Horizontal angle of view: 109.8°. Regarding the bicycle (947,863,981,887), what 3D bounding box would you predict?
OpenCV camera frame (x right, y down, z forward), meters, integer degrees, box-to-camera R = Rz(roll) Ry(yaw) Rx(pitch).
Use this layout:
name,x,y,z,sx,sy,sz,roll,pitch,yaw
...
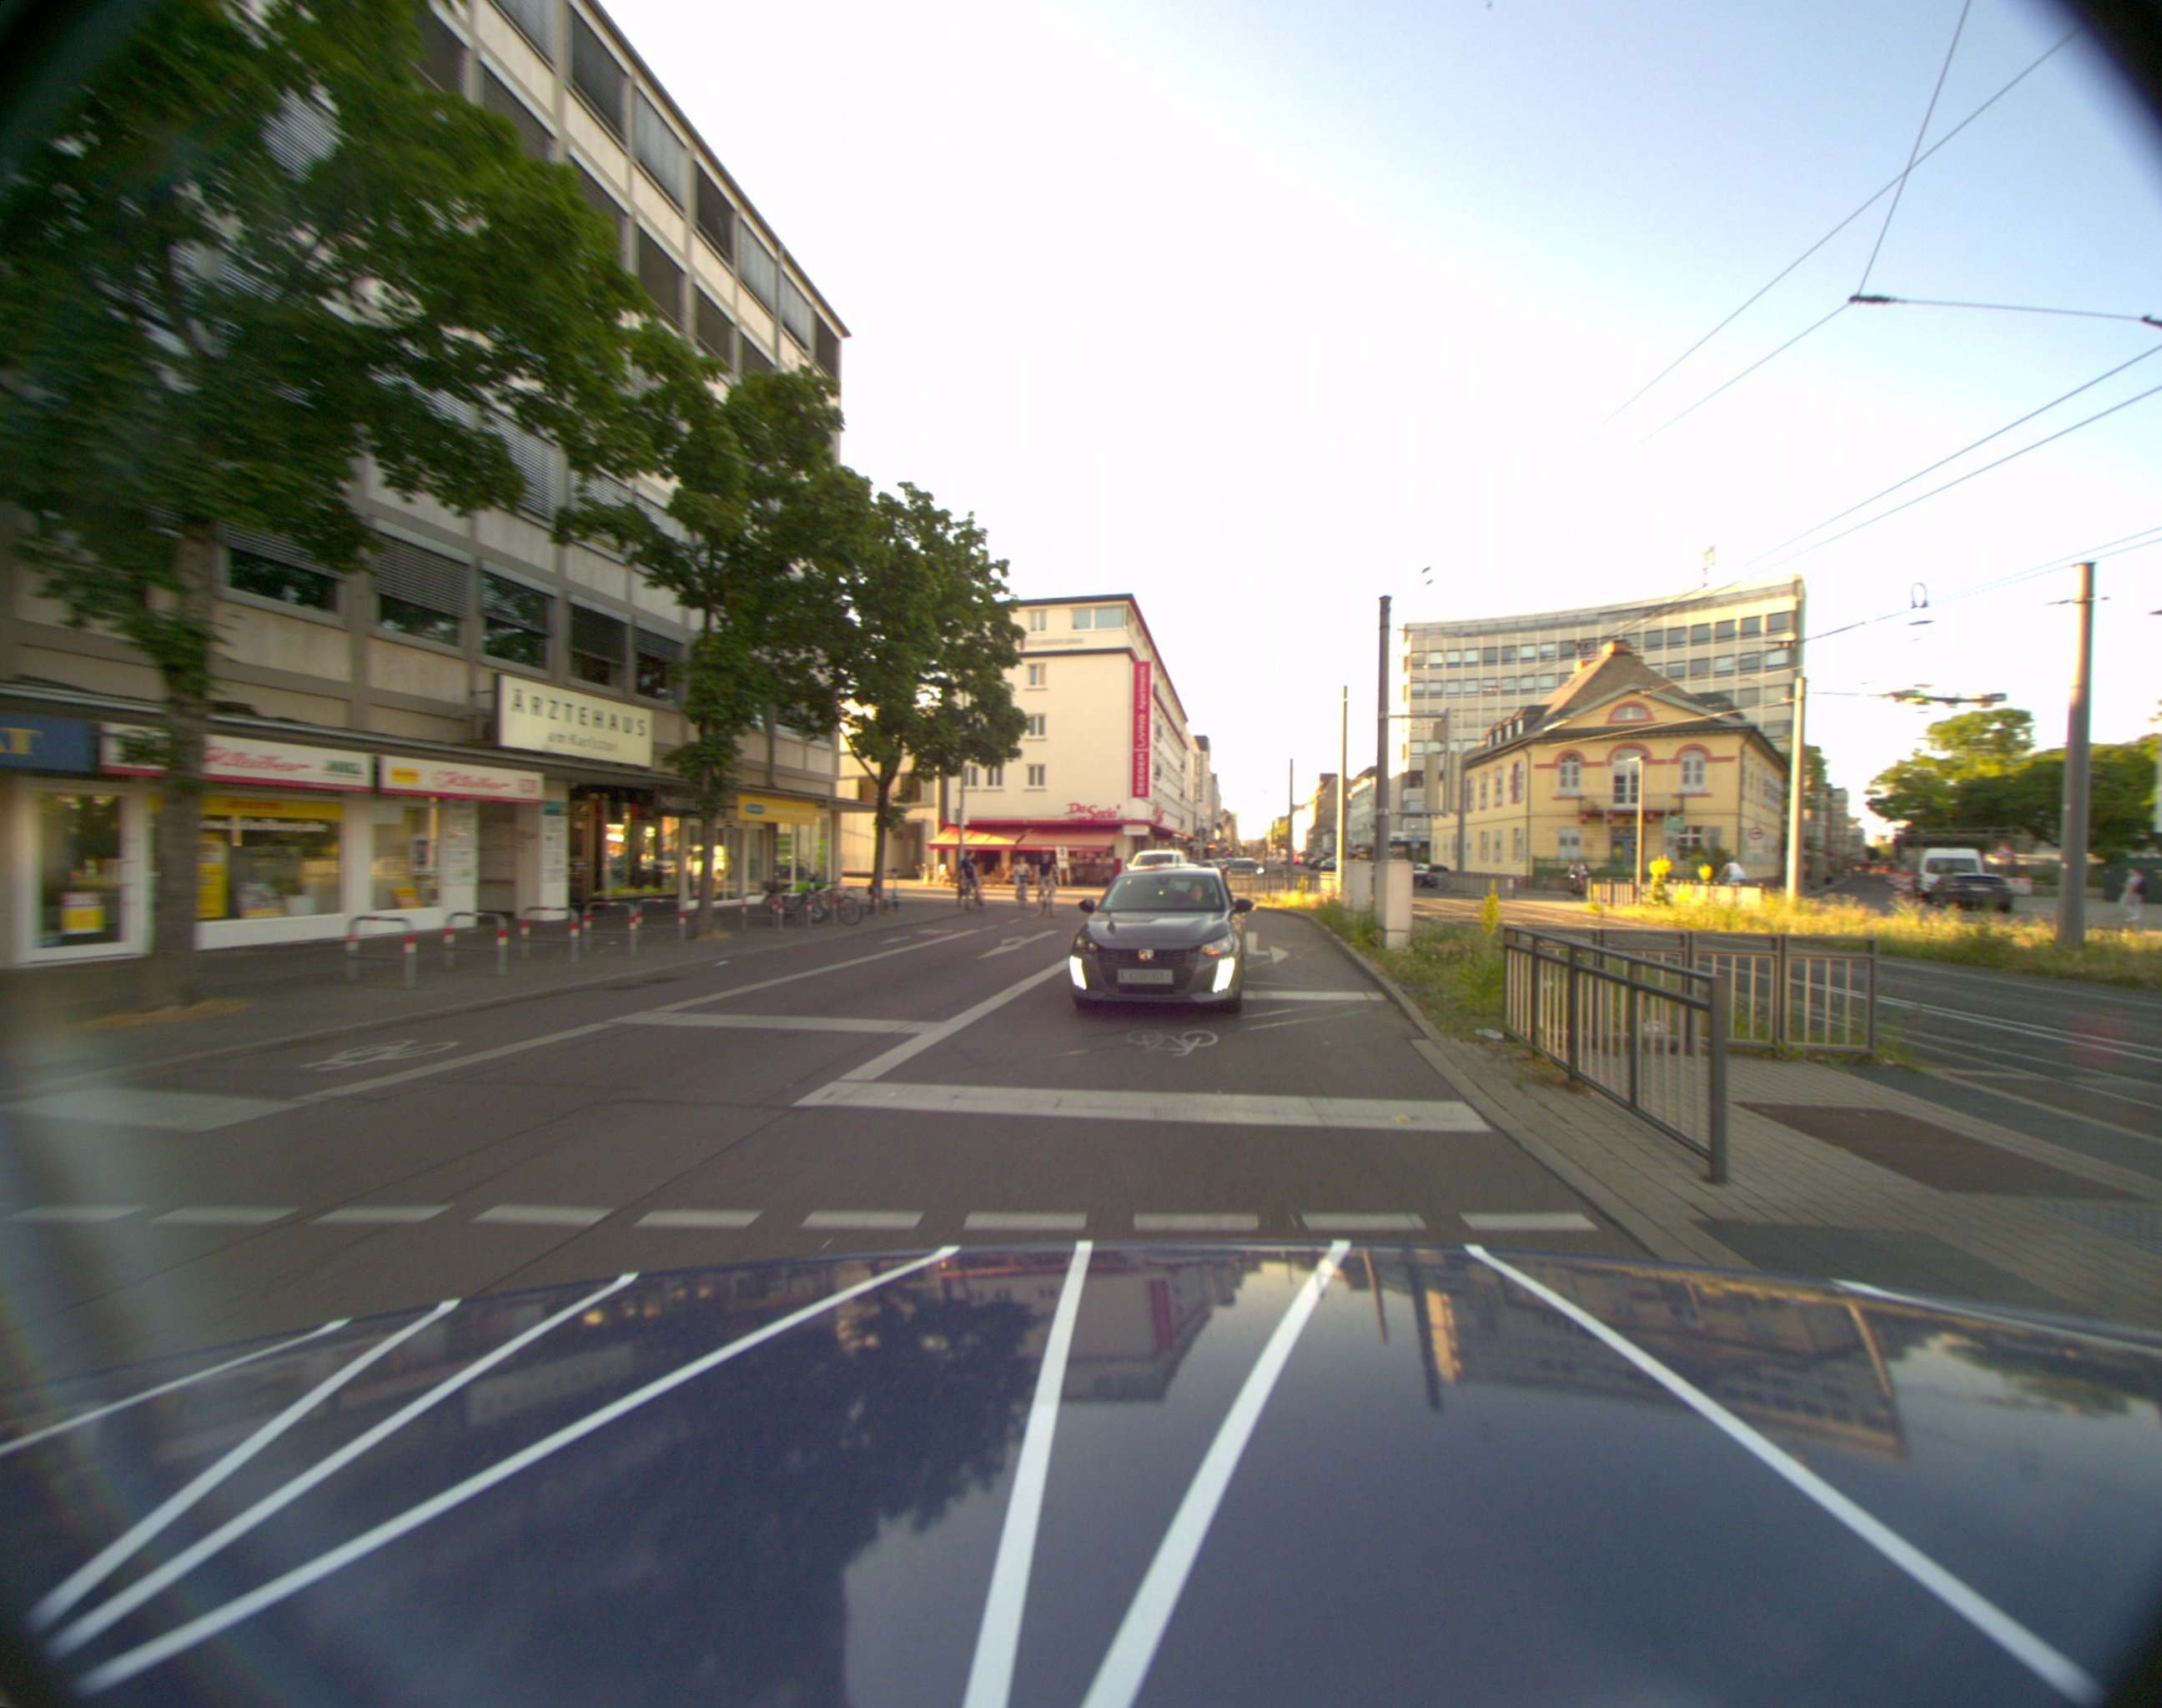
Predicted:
name,x,y,z,sx,sy,sz,roll,pitch,yaw
bicycle,-5.954,1.077,38.742,1.631,1.160,0.601,1,3,17

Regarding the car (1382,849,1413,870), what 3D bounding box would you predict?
name,x,y,z,sx,sy,sz,roll,pitch,yaw
car,28.236,0.483,67.928,1.734,1.698,3.808,2,1,10

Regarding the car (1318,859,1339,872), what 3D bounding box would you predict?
name,x,y,z,sx,sy,sz,roll,pitch,yaw
car,29.503,1.378,90.745,2.015,1.420,4.660,0,0,13

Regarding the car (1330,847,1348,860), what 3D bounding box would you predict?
name,x,y,z,sx,sy,sz,roll,pitch,yaw
car,39.313,-0.034,115.948,1.997,1.936,4.003,1,0,9

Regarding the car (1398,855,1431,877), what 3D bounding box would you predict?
name,x,y,z,sx,sy,sz,roll,pitch,yaw
car,27.577,0.962,62.972,1.735,1.698,3.442,1,1,11

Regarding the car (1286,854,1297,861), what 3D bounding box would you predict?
name,x,y,z,sx,sy,sz,roll,pitch,yaw
car,47.881,0.773,172.988,1.847,1.499,4.002,1,0,8

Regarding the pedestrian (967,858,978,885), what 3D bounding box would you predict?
name,x,y,z,sx,sy,sz,roll,pitch,yaw
pedestrian,-5.716,0.923,40.091,0.509,1.441,0.506,0,1,-14

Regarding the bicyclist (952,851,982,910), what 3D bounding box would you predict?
name,x,y,z,sx,sy,sz,roll,pitch,yaw
bicyclist,-3.446,0.787,22.950,0.665,1.717,0.811,1,1,9

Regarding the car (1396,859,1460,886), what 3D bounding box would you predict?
name,x,y,z,sx,sy,sz,roll,pitch,yaw
car,21.309,1.107,46.868,1.998,1.508,4.414,-2,0,1

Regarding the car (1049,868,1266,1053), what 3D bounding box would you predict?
name,x,y,z,sx,sy,sz,roll,pitch,yaw
car,0.998,0.974,9.108,1.914,1.495,4.705,1,0,8

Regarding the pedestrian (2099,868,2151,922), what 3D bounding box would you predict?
name,x,y,z,sx,sy,sz,roll,pitch,yaw
pedestrian,34.123,1.322,24.849,0.831,1.714,0.876,0,2,-40

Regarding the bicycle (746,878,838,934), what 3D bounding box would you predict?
name,x,y,z,sx,sy,sz,roll,pitch,yaw
bicycle,-6.309,1.127,16.640,1.744,1.133,0.667,2,1,5

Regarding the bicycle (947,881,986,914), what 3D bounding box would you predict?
name,x,y,z,sx,sy,sz,roll,pitch,yaw
bicycle,-3.448,1.294,22.980,0.675,0.896,1.691,1,0,9

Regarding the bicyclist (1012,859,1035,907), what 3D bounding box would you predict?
name,x,y,z,sx,sy,sz,roll,pitch,yaw
bicyclist,-1.820,0.908,24.021,0.589,1.478,0.717,1,1,-15

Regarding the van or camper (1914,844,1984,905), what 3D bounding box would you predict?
name,x,y,z,sx,sy,sz,roll,pitch,yaw
van or camper,42.963,0.974,37.702,6.464,2.758,2.077,1,1,-42

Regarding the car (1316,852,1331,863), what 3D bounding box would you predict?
name,x,y,z,sx,sy,sz,roll,pitch,yaw
car,43.119,0.585,135.172,1.997,1.936,4.003,1,0,9

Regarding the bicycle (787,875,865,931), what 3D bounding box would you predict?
name,x,y,z,sx,sy,sz,roll,pitch,yaw
bicycle,-5.876,1.114,17.544,1.634,1.178,0.539,2,1,12

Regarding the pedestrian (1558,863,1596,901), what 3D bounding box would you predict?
name,x,y,z,sx,sy,sz,roll,pitch,yaw
pedestrian,19.923,1.109,30.528,1.007,1.494,1.041,0,1,-41

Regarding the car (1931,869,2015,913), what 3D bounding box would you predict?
name,x,y,z,sx,sy,sz,roll,pitch,yaw
car,35.354,1.427,30.213,1.778,1.534,4.300,2,1,45

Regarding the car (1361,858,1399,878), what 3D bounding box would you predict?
name,x,y,z,sx,sy,sz,roll,pitch,yaw
car,23.068,1.078,58.780,1.912,1.402,4.341,1,0,11

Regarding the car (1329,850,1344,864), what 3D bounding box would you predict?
name,x,y,z,sx,sy,sz,roll,pitch,yaw
car,37.028,0.437,110.250,1.996,1.936,4.005,1,0,17

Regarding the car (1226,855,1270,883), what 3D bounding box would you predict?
name,x,y,z,sx,sy,sz,roll,pitch,yaw
car,10.379,0.872,46.984,1.995,1.565,4.309,1,1,22

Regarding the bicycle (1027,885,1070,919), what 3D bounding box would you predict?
name,x,y,z,sx,sy,sz,roll,pitch,yaw
bicycle,-0.931,1.321,21.384,0.616,0.820,1.802,0,0,-23

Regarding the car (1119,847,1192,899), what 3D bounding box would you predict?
name,x,y,z,sx,sy,sz,roll,pitch,yaw
car,3.028,0.714,29.731,1.997,1.827,4.882,0,-1,16

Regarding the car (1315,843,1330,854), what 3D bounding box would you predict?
name,x,y,z,sx,sy,sz,roll,pitch,yaw
car,45.100,-1.018,141.799,1.997,2.002,4.002,-1,0,8

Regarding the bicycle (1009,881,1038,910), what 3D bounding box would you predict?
name,x,y,z,sx,sy,sz,roll,pitch,yaw
bicycle,-1.830,1.290,24.064,0.600,0.820,1.737,1,0,-15

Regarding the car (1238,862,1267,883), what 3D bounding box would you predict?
name,x,y,z,sx,sy,sz,roll,pitch,yaw
car,13.726,1.453,60.640,2.036,1.432,4.666,2,1,15

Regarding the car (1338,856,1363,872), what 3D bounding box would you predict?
name,x,y,z,sx,sy,sz,roll,pitch,yaw
car,26.982,0.978,76.210,1.837,1.589,4.076,0,0,13

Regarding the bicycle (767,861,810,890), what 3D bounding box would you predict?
name,x,y,z,sx,sy,sz,roll,pitch,yaw
bicycle,-12.496,0.937,32.543,0.538,1.179,1.722,1,-2,29

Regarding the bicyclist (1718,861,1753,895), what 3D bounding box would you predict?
name,x,y,z,sx,sy,sz,roll,pitch,yaw
bicyclist,24.411,0.890,28.340,0.669,1.250,0.727,0,1,-23

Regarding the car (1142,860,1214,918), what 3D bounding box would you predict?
name,x,y,z,sx,sy,sz,roll,pitch,yaw
car,2.870,0.989,23.276,1.815,1.441,4.563,1,1,3

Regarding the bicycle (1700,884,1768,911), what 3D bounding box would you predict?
name,x,y,z,sx,sy,sz,roll,pitch,yaw
bicycle,24.376,1.620,28.388,0.681,0.887,1.793,0,1,-23

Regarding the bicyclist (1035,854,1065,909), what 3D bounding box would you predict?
name,x,y,z,sx,sy,sz,roll,pitch,yaw
bicyclist,-0.879,0.758,21.276,0.615,1.478,0.716,0,1,-23

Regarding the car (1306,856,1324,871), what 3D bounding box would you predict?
name,x,y,z,sx,sy,sz,roll,pitch,yaw
car,33.601,1.318,109.080,1.997,1.978,4.123,1,0,11

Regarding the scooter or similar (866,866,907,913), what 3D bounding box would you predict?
name,x,y,z,sx,sy,sz,roll,pitch,yaw
scooter or similar,-5.651,1.015,22.063,1.277,1.314,0.516,1,1,43
